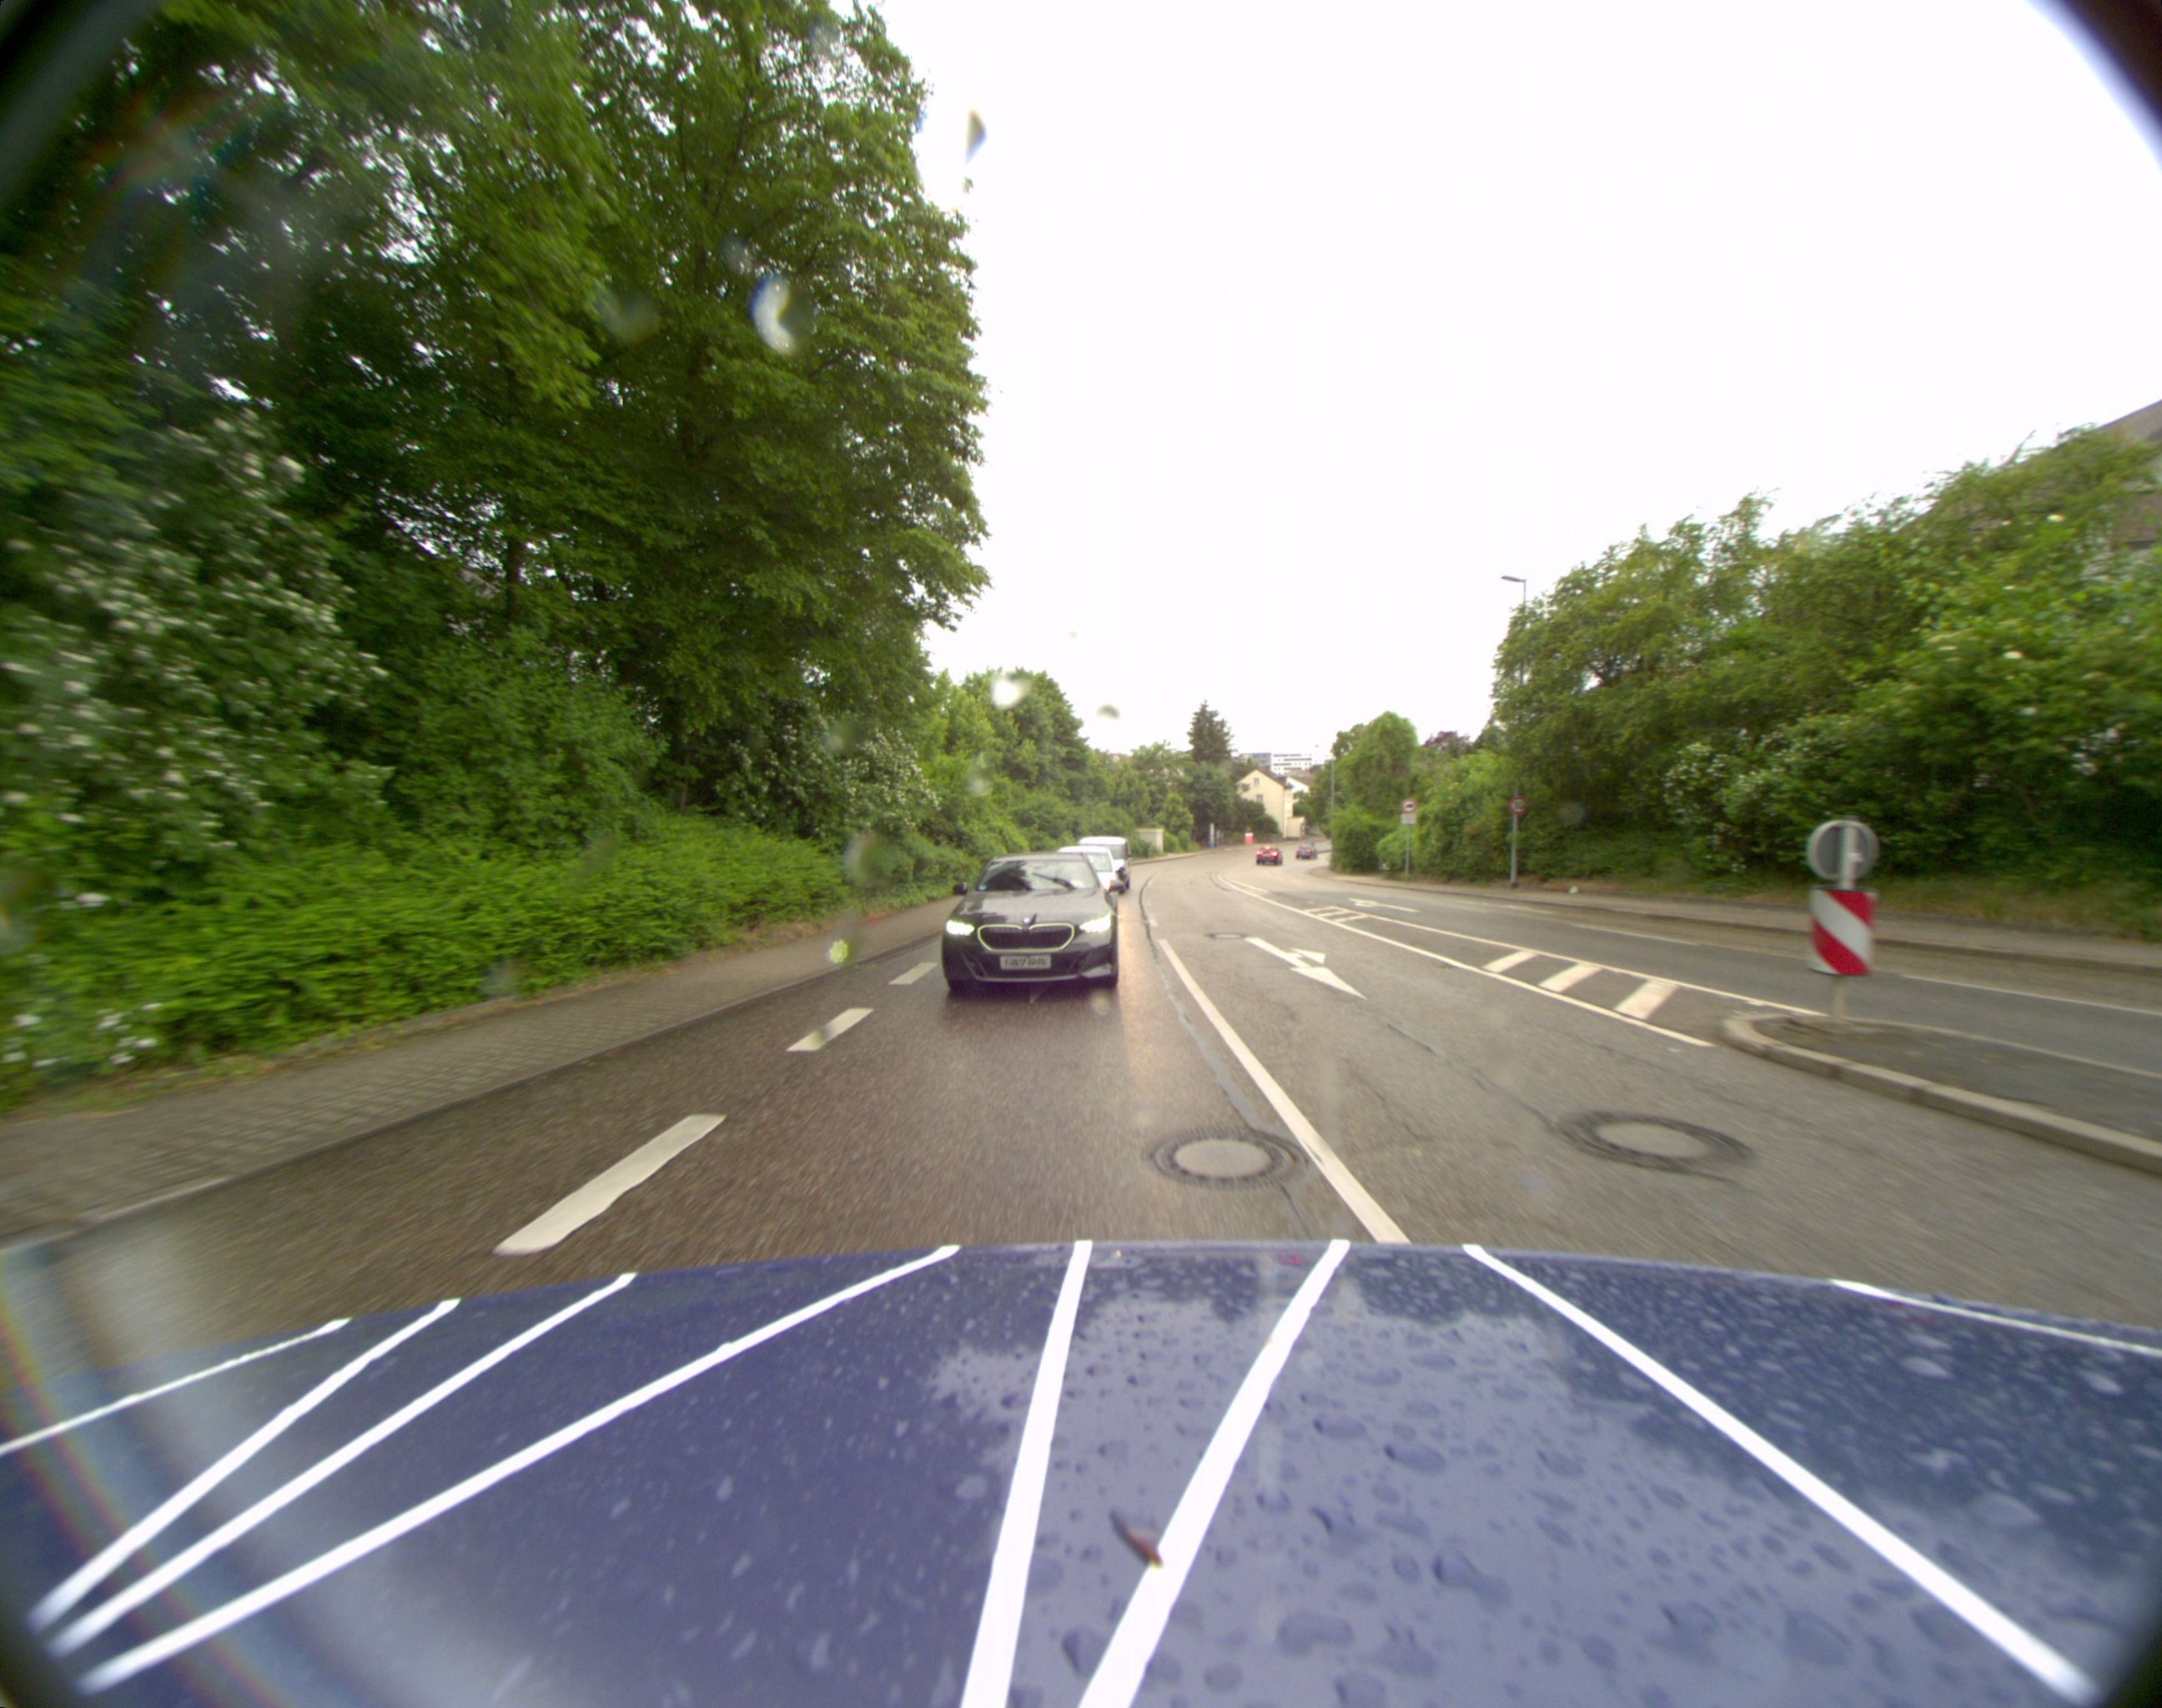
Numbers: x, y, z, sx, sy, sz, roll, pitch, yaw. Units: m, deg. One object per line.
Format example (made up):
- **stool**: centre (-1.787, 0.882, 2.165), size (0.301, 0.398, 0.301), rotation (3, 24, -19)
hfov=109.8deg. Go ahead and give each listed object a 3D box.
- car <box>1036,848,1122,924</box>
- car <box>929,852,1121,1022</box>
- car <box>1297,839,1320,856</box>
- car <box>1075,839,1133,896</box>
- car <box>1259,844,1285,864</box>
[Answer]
- **car**: centre (-0.012, 0.665, 18.094), size (1.814, 1.547, 4.118), rotation (0, 1, 1)
- **car**: centre (-0.523, 0.809, 9.479), size (1.867, 1.547, 4.118), rotation (0, 2, 1)
- **car**: centre (27.076, -0.785, 90.410), size (2.128, 2.002, 4.092), rotation (0, 1, 23)
- **car**: centre (0.873, 0.394, 26.079), size (1.814, 1.797, 4.120), rotation (0, 1, 4)
- **car**: centre (18.415, -0.028, 73.159), size (1.957, 1.835, 4.006), rotation (2, 1, 19)
